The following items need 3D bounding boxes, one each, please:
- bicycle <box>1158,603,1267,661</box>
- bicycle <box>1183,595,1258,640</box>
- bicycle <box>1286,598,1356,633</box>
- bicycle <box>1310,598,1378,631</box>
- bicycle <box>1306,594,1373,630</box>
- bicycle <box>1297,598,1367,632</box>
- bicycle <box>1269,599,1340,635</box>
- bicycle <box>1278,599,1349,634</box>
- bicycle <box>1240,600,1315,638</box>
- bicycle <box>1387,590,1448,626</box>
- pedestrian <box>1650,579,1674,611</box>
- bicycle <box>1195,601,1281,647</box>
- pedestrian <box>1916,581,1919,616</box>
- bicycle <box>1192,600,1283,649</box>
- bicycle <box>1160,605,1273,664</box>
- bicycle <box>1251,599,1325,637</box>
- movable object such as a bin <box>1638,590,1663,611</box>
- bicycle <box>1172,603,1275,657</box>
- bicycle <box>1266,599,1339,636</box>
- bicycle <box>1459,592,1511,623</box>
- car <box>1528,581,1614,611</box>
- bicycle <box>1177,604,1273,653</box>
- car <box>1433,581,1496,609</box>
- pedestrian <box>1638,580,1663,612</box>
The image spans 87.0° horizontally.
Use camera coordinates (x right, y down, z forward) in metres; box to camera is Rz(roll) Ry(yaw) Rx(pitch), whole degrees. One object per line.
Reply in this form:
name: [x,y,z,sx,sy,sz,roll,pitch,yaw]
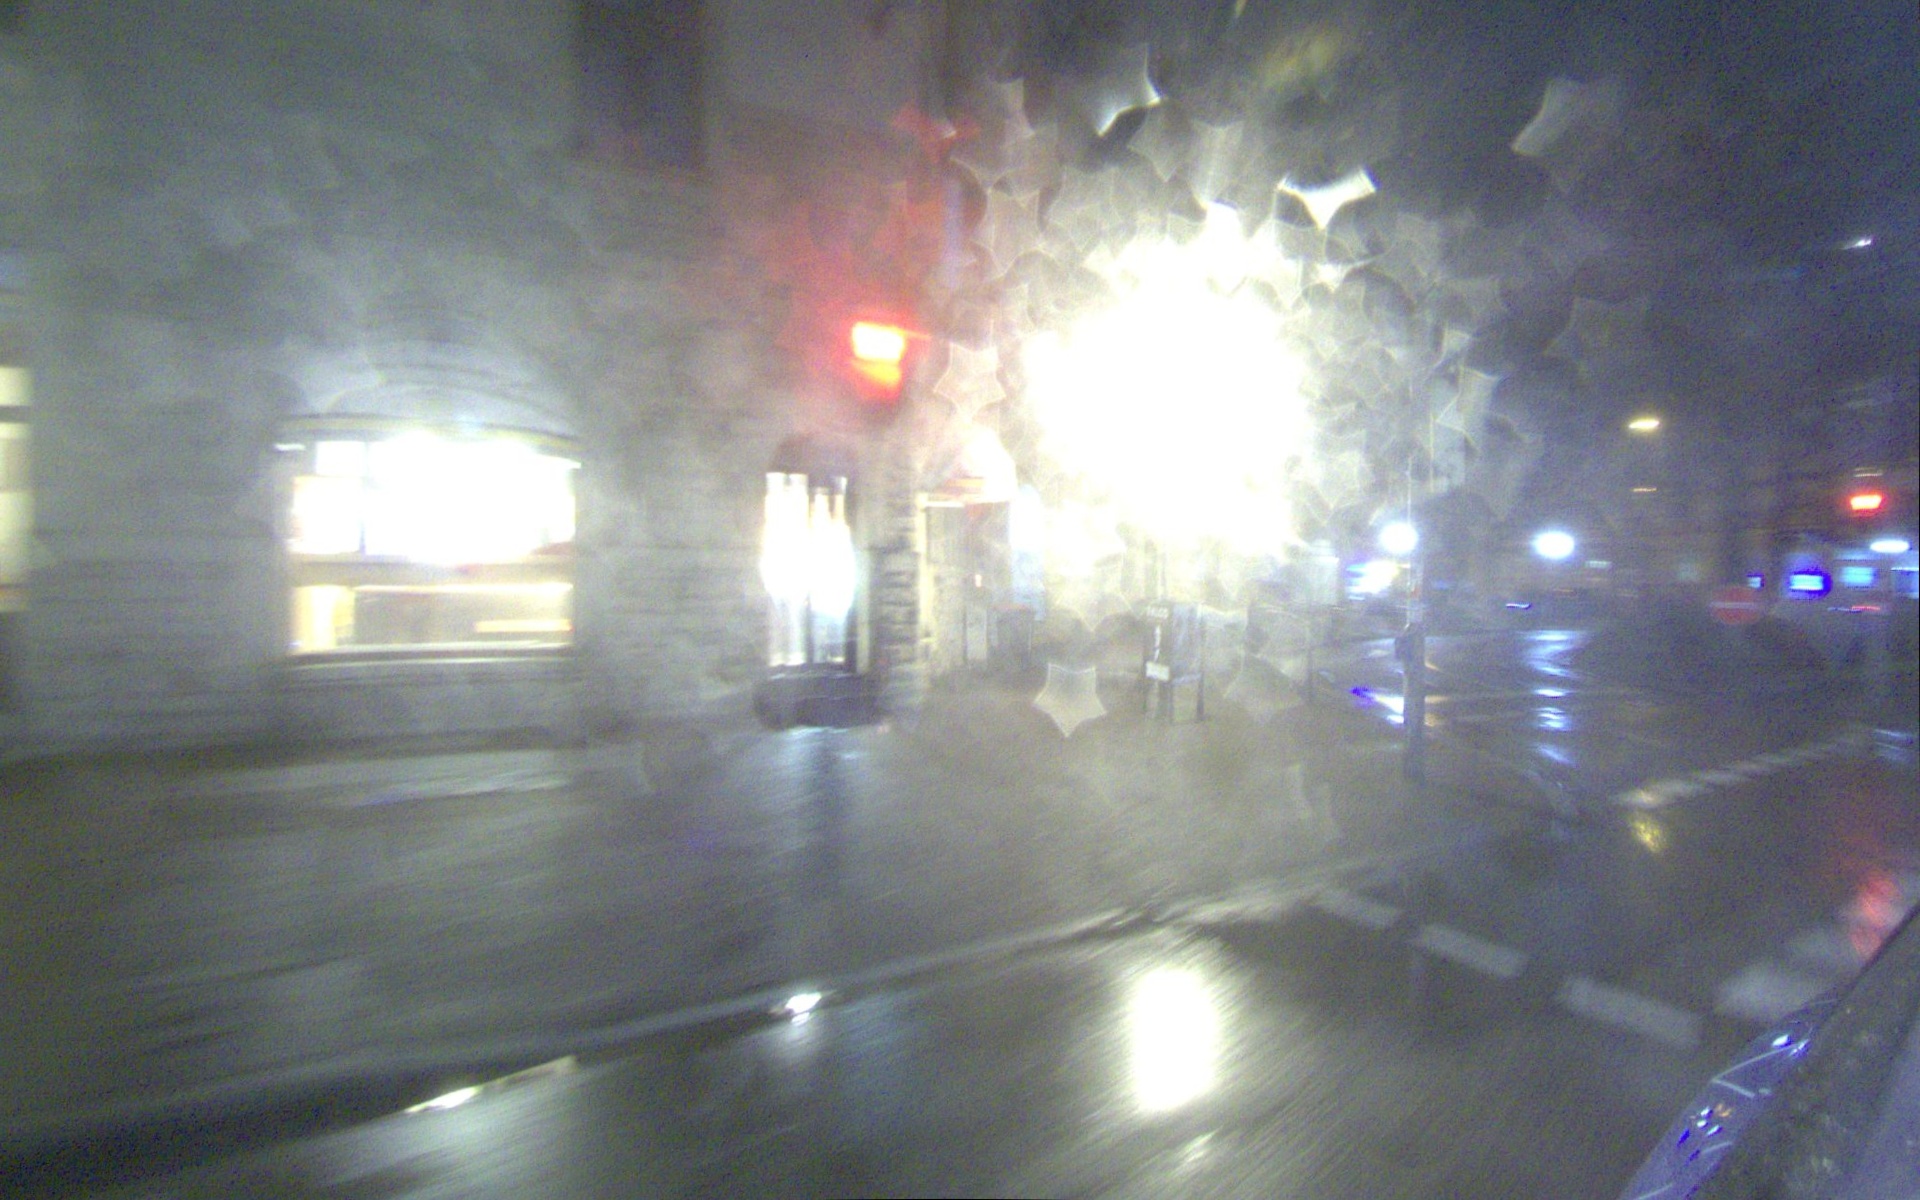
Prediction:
bicycle: [4.749,0.586,19.069,1.950,1.048,0.638,0,1,20]
bicycle: [6.640,0.439,25.761,1.802,1.100,0.716,0,1,20]
bicycle: [11.143,0.469,31.281,0.631,1.019,1.971,-1,1,-42]
bicycle: [12.253,0.447,32.365,0.718,1.000,1.929,-1,1,-42]
bicycle: [12.374,0.380,33.018,0.718,1.129,1.929,-1,1,-42]
bicycle: [11.654,0.460,31.766,0.676,1.019,1.971,-1,1,-42]
bicycle: [10.263,0.487,30.221,0.631,1.019,1.971,-1,1,-42]
bicycle: [10.698,0.479,30.693,0.631,1.019,1.971,-1,1,-42]
bicycle: [8.958,0.520,28.592,0.631,1.019,1.971,-1,1,-42]
bicycle: [16.247,0.256,35.964,0.718,1.232,1.871,-1,1,-42]
pedestrian: [37.636,-0.243,54.261,0.622,1.659,0.843,-2,-2,-3]
bicycle: [6.652,0.558,24.319,0.631,1.019,1.971,-1,1,-42]
pedestrian: [41.368,-0.080,43.127,0.764,1.512,0.625,-4,-2,40]
bicycle: [6.285,0.538,22.913,1.950,1.078,0.638,0,1,20]
bicycle: [4.652,0.604,18.351,1.950,1.019,0.638,0,1,20]
bicycle: [9.423,0.503,29.109,0.631,1.046,1.971,-1,1,-42]
movable object such as a bin: [37.604,0.037,55.099,0.622,1.130,0.923,-2,-2,-3]
bicycle: [5.259,0.584,20.214,1.950,1.019,0.638,0,1,20]
bicycle: [9.995,0.496,29.570,0.631,1.019,1.971,-1,1,-42]
bicycle: [19.581,0.273,37.756,0.555,1.095,1.621,-4,2,-43]
car: [34.948,-0.233,58.053,1.851,1.613,4.501,-2,0,-5]
bicycle: [5.677,0.596,21.688,1.950,1.019,0.638,0,1,20]
car: [34.134,-0.326,68.604,1.844,1.725,4.289,-2,0,-3]
pedestrian: [36.994,-0.222,54.223,0.622,1.659,0.875,-2,-2,-3]
